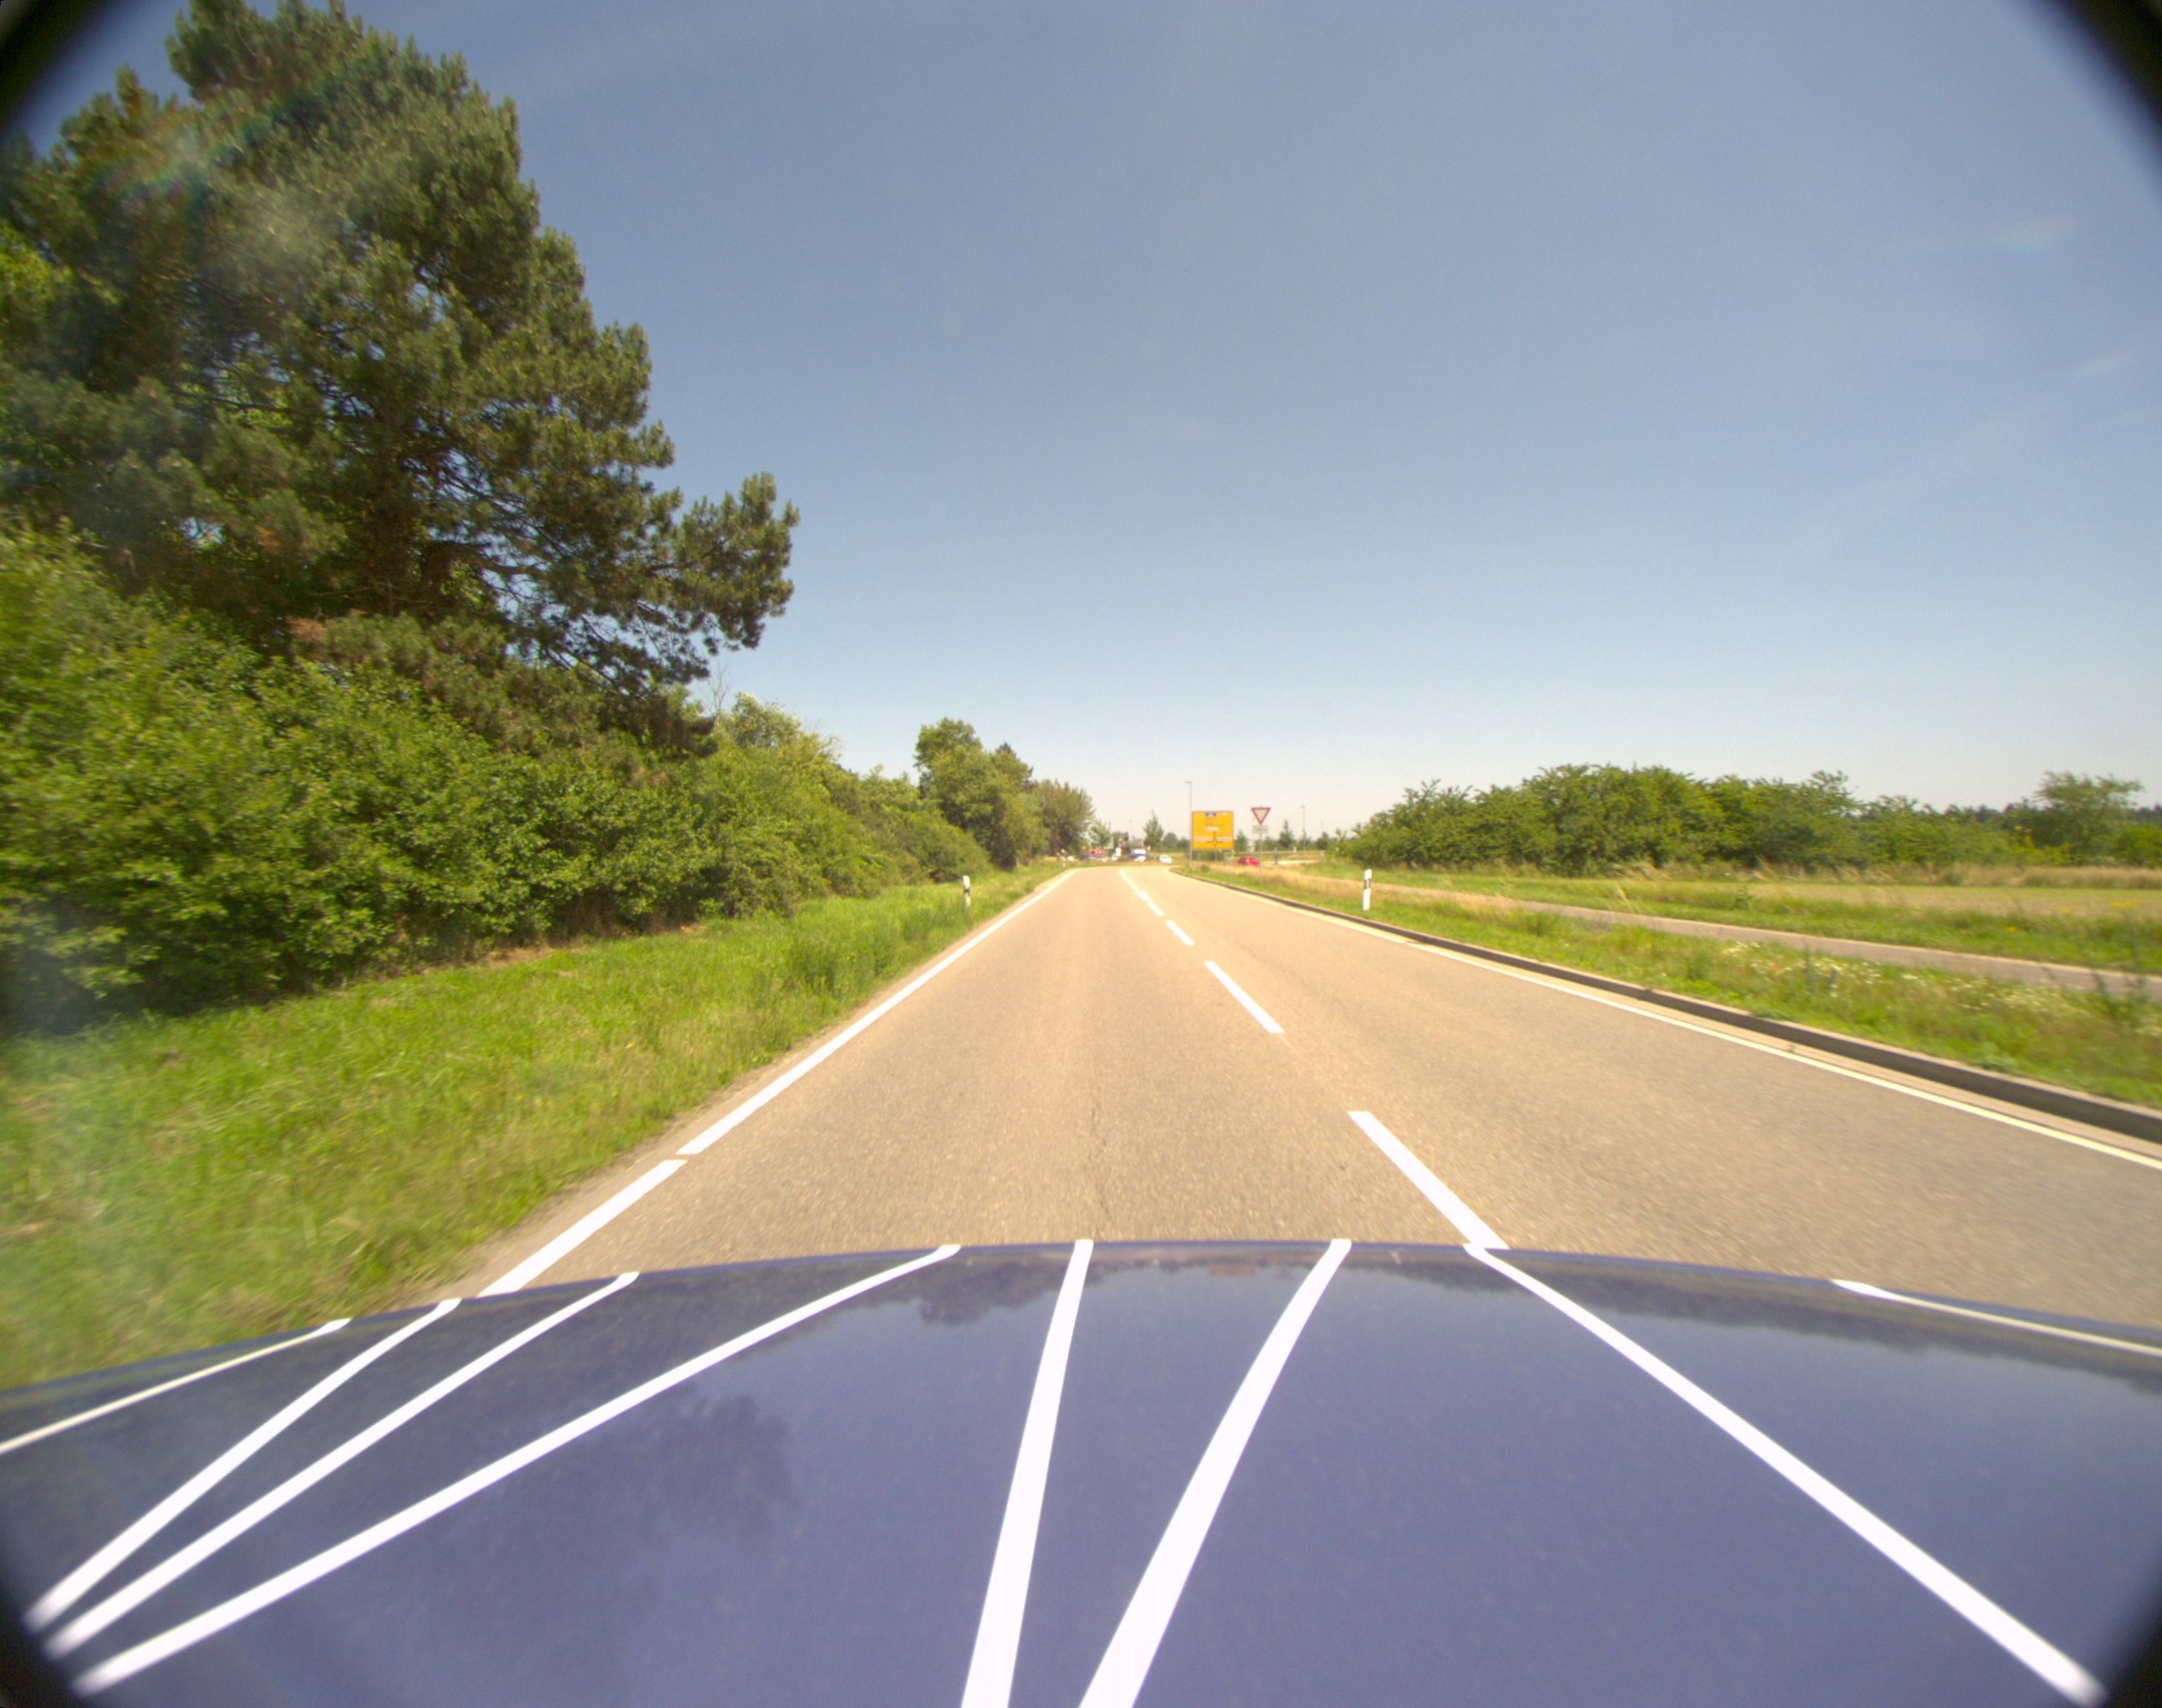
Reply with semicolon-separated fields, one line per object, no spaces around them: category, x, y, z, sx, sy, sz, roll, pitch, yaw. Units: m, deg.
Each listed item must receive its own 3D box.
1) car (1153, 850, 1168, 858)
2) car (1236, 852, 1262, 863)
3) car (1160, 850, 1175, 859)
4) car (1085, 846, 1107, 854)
car;13.805;-0.042;131.872;1.747;1.304;3.997;0;1;-6
car;22.216;0.470;100.300;1.655;1.425;3.744;2;1;41
car;13.866;0.034;121.971;1.746;1.419;3.999;0;1;-1
car;4.523;-1.164;229.559;6.125;2.569;2.359;0;1;13
